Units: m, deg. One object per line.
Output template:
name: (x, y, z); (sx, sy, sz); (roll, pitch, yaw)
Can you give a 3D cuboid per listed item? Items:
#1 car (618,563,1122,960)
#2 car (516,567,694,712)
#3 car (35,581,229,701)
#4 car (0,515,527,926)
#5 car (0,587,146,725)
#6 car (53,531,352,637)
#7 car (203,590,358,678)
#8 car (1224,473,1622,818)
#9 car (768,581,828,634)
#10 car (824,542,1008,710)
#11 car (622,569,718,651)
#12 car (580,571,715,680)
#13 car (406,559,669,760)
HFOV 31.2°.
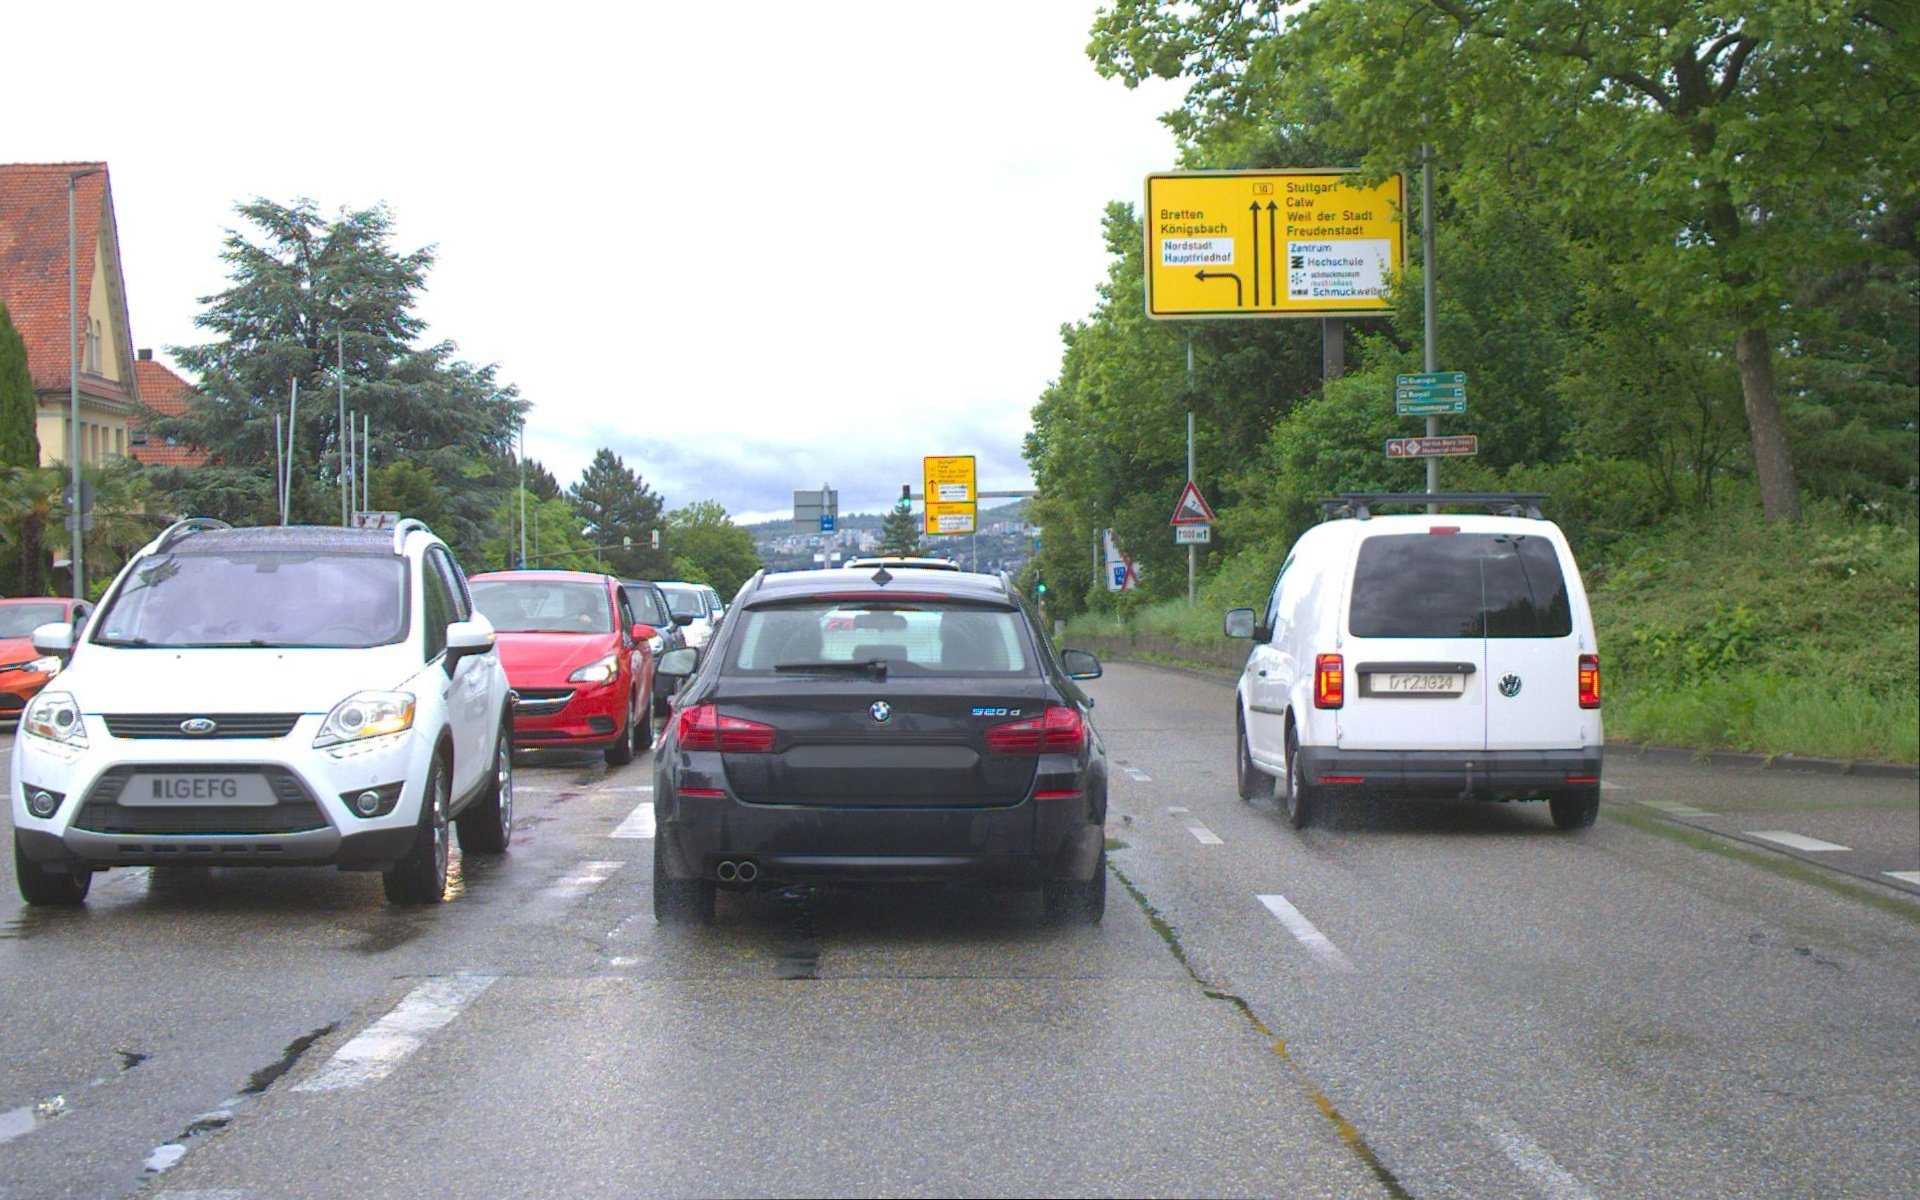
car: (-0.356, 0.589, 14.988); (1.899, 1.436, 4.000); (0, 1, 0)
car: (-3.764, 0.380, 36.937); (1.601, 1.436, 3.949); (0, 1, -2)
car: (-10.659, 0.489, 44.542); (1.601, 1.395, 4.406); (-1, 1, -3)
car: (-3.166, 0.450, 16.078); (1.839, 1.644, 4.298); (-1, 1, -2)
car: (-10.051, 0.585, 37.146); (1.622, 1.327, 3.947); (-2, 1, -1)
car: (-11.170, -0.221, 50.724); (4.035, 1.472, 1.641); (-1, 0, 19)
car: (-10.155, 0.489, 51.625); (1.622, 1.145, 3.856); (-2, 1, -1)
car: (2.666, 0.201, 20.599); (1.764, 1.871, 3.806); (0, 1, -1)
car: (-5.435, 0.232, 115.539); (1.868, 1.668, 4.000); (0, 1, 0)
car: (-0.463, 0.227, 36.975); (1.868, 1.668, 4.000); (0, 1, 0)
car: (-5.770, 0.197, 68.724); (1.787, 1.575, 4.239); (0, 0, -3)
car: (-4.265, 0.345, 47.370); (1.601, 1.436, 3.949); (0, 0, -2)
car: (-3.261, 0.443, 27.186); (1.632, 1.429, 4.144); (-1, 0, -1)
